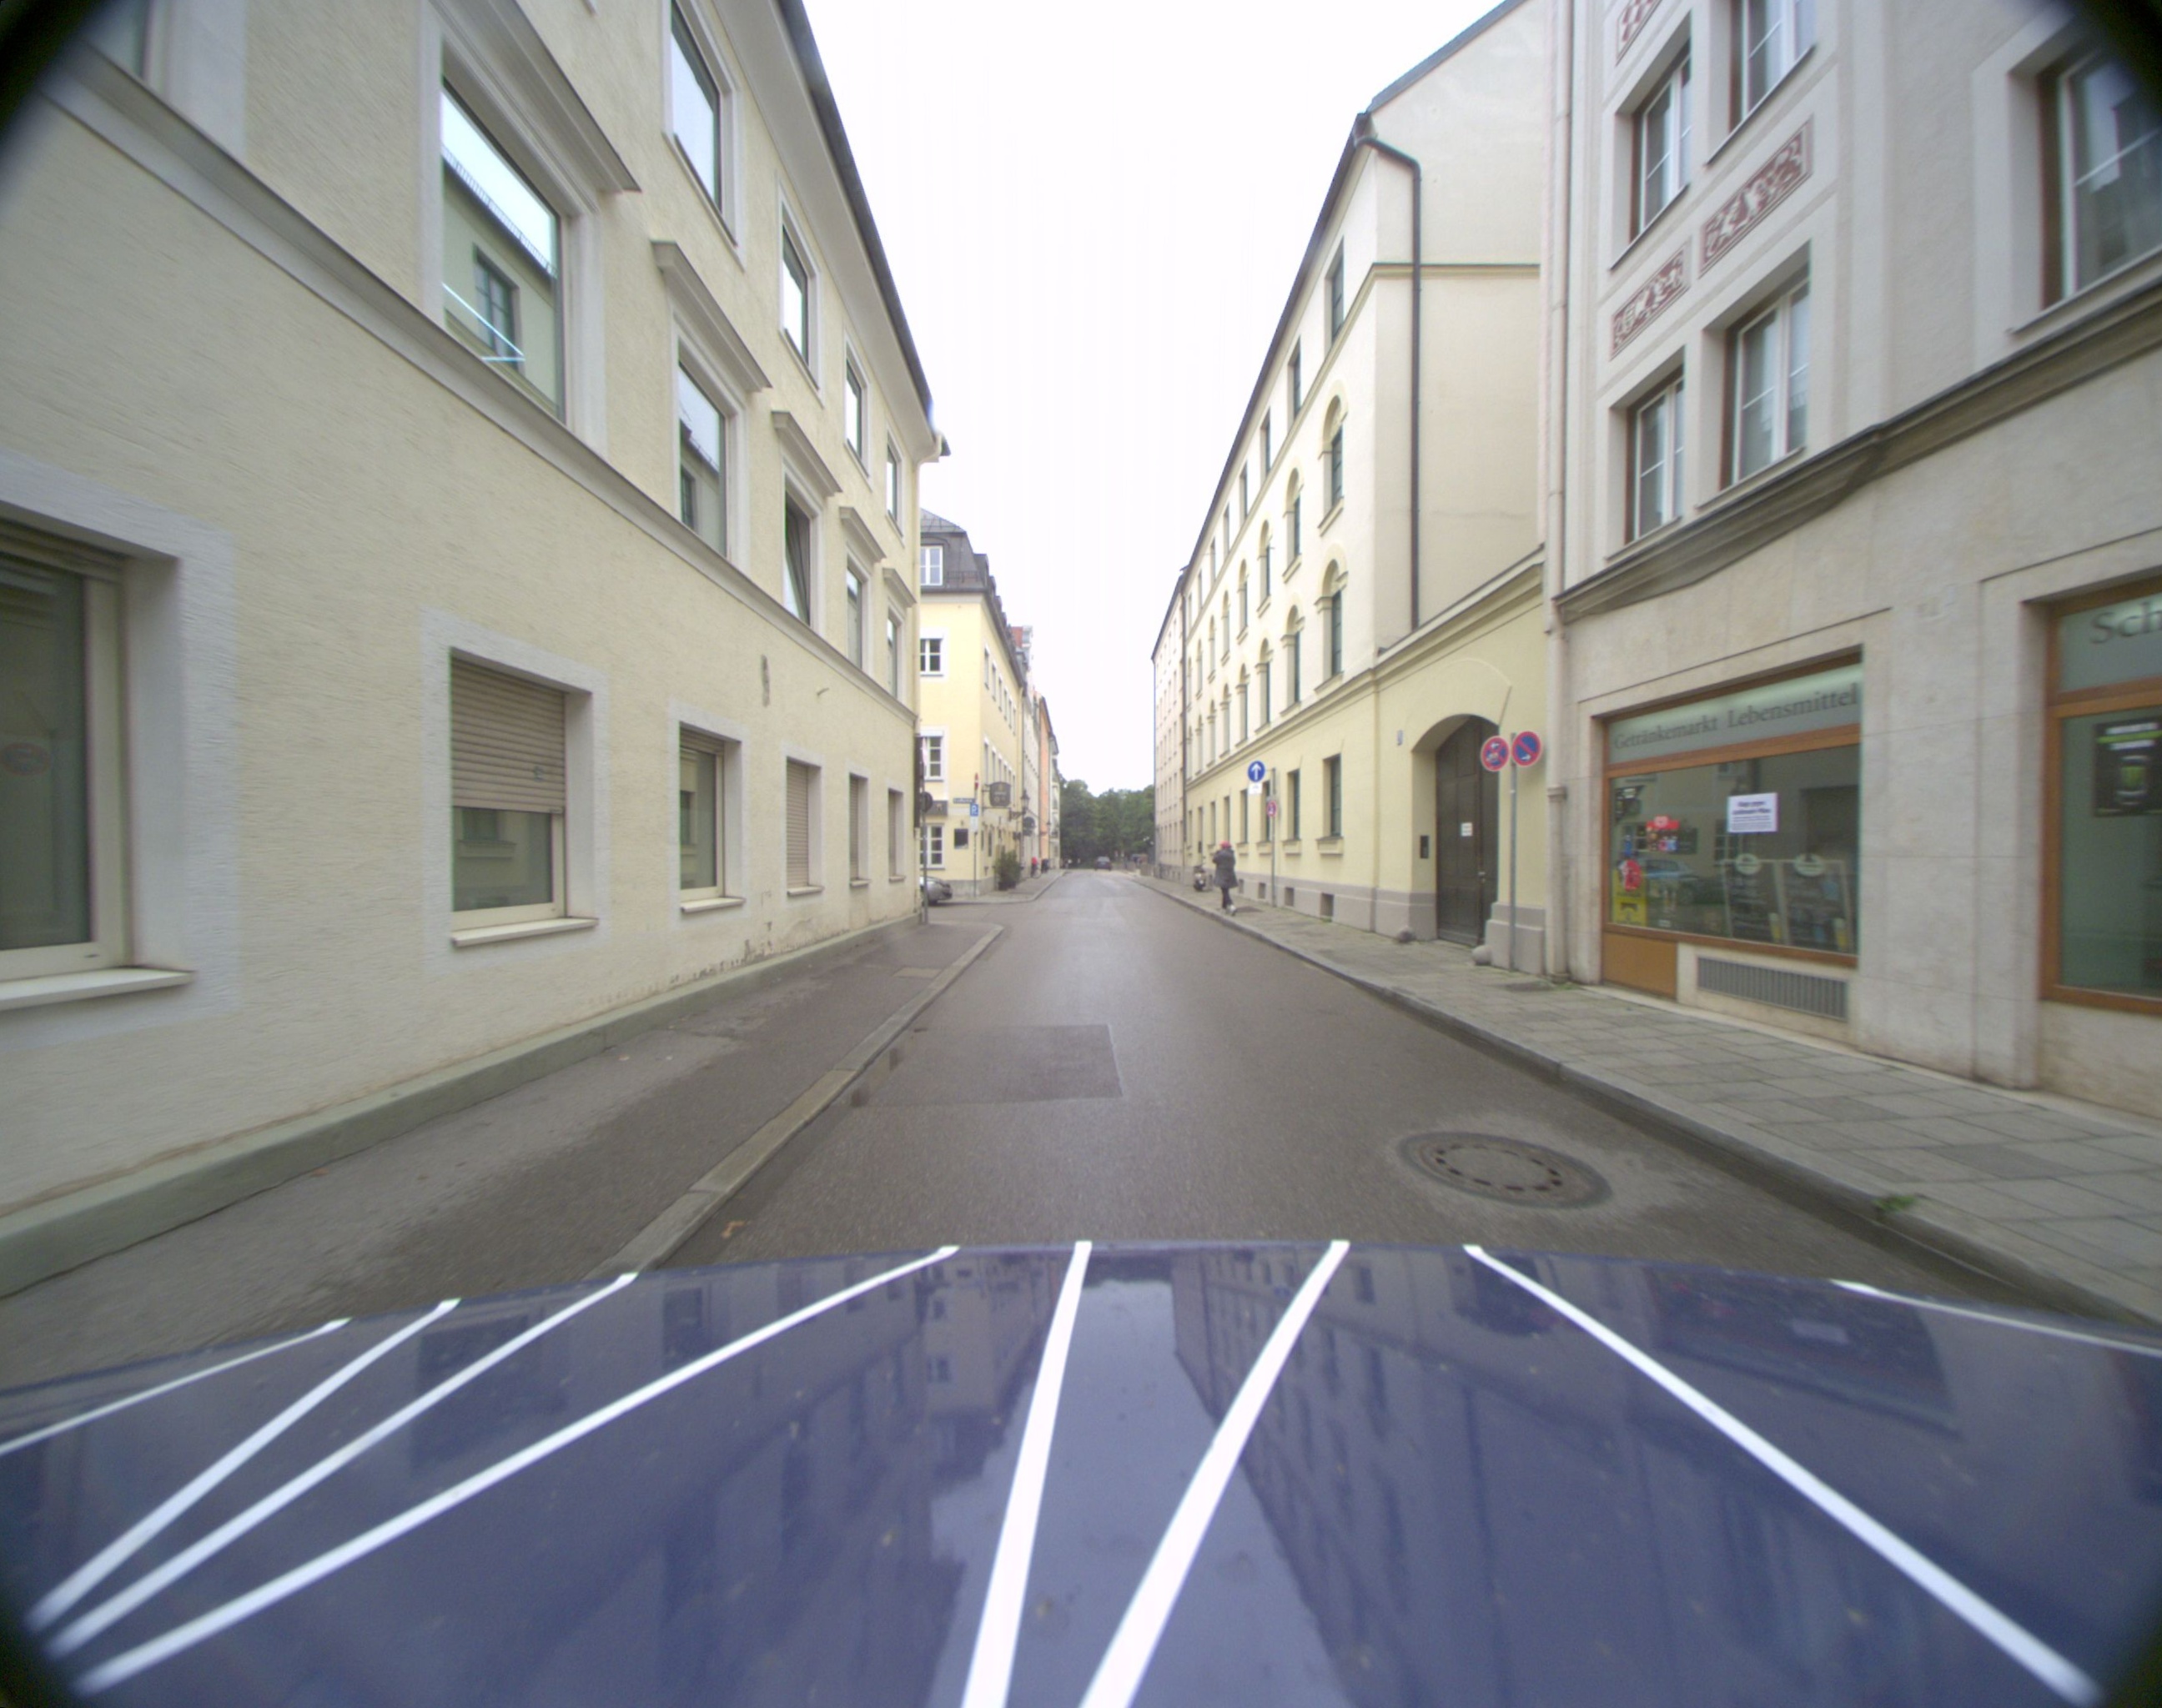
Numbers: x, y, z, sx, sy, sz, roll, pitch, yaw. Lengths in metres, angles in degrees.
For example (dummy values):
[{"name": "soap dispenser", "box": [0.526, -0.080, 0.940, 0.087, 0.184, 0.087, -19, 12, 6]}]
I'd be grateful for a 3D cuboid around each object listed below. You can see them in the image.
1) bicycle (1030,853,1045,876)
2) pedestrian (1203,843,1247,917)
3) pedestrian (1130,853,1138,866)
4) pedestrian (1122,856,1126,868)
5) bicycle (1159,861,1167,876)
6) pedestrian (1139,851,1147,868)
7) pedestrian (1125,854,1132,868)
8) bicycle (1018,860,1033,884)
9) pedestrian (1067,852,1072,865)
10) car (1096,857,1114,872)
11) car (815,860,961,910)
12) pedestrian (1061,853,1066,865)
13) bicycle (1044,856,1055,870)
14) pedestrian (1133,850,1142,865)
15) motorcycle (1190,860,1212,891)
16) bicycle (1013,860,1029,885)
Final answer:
[{"name": "bicycle", "box": [-2.852, 0.674, 49.550, 0.715, 1.388, 2.122, 2, 0, 3]}, {"name": "pedestrian", "box": [3.499, 0.630, 18.494, 0.811, 1.745, 0.990, -1, -1, -2]}, {"name": "pedestrian", "box": [6.080, 0.656, 87.443, 0.779, 1.531, 0.933, -2, 0, 2]}, {"name": "pedestrian", "box": [6.613, 1.219, 117.031, 0.625, 1.758, 0.766, 0, 0, 0]}, {"name": "bicycle", "box": [5.232, 0.935, 48.561, 0.320, 0.938, 1.574, -3, 0, 2]}, {"name": "pedestrian", "box": [6.685, 0.588, 82.221, 0.826, 1.712, 0.906, -2, 0, 5]}, {"name": "pedestrian", "box": [5.146, 0.783, 82.644, 0.640, 1.458, 1.079, -2, 0, 1]}, {"name": "bicycle", "box": [-2.815, 0.892, 38.660, 0.567, 1.130, 1.988, 2, 0, 1]}, {"name": "pedestrian", "box": [-1.593, 0.639, 104.292, 0.753, 1.725, 0.853, 0, 0, -1]}, {"name": "car", "box": [2.637, 1.112, 83.973, 1.816, 1.584, 4.000, -1, -1, 1]}, {"name": "car", "box": [-5.883, 0.952, 23.487, 4.024, 1.432, 1.765, -1, -2, 2]}, {"name": "pedestrian", "box": [-2.415, 0.658, 104.116, 0.753, 1.670, 0.656, 0, 0, -1]}, {"name": "bicycle", "box": [-2.744, 0.776, 66.496, 0.681, 1.233, 2.382, 4, 0, 2]}, {"name": "pedestrian", "box": [7.811, 0.514, 104.555, 1.226, 2.091, 1.117, 0, 0, 2]}, {"name": "motorcycle", "box": [4.765, 0.851, 30.163, 0.603, 1.167, 1.708, -1, 0, 1]}, {"name": "bicycle", "box": [-2.842, 0.868, 36.247, 0.567, 1.130, 1.684, 2, 0, 1]}]
